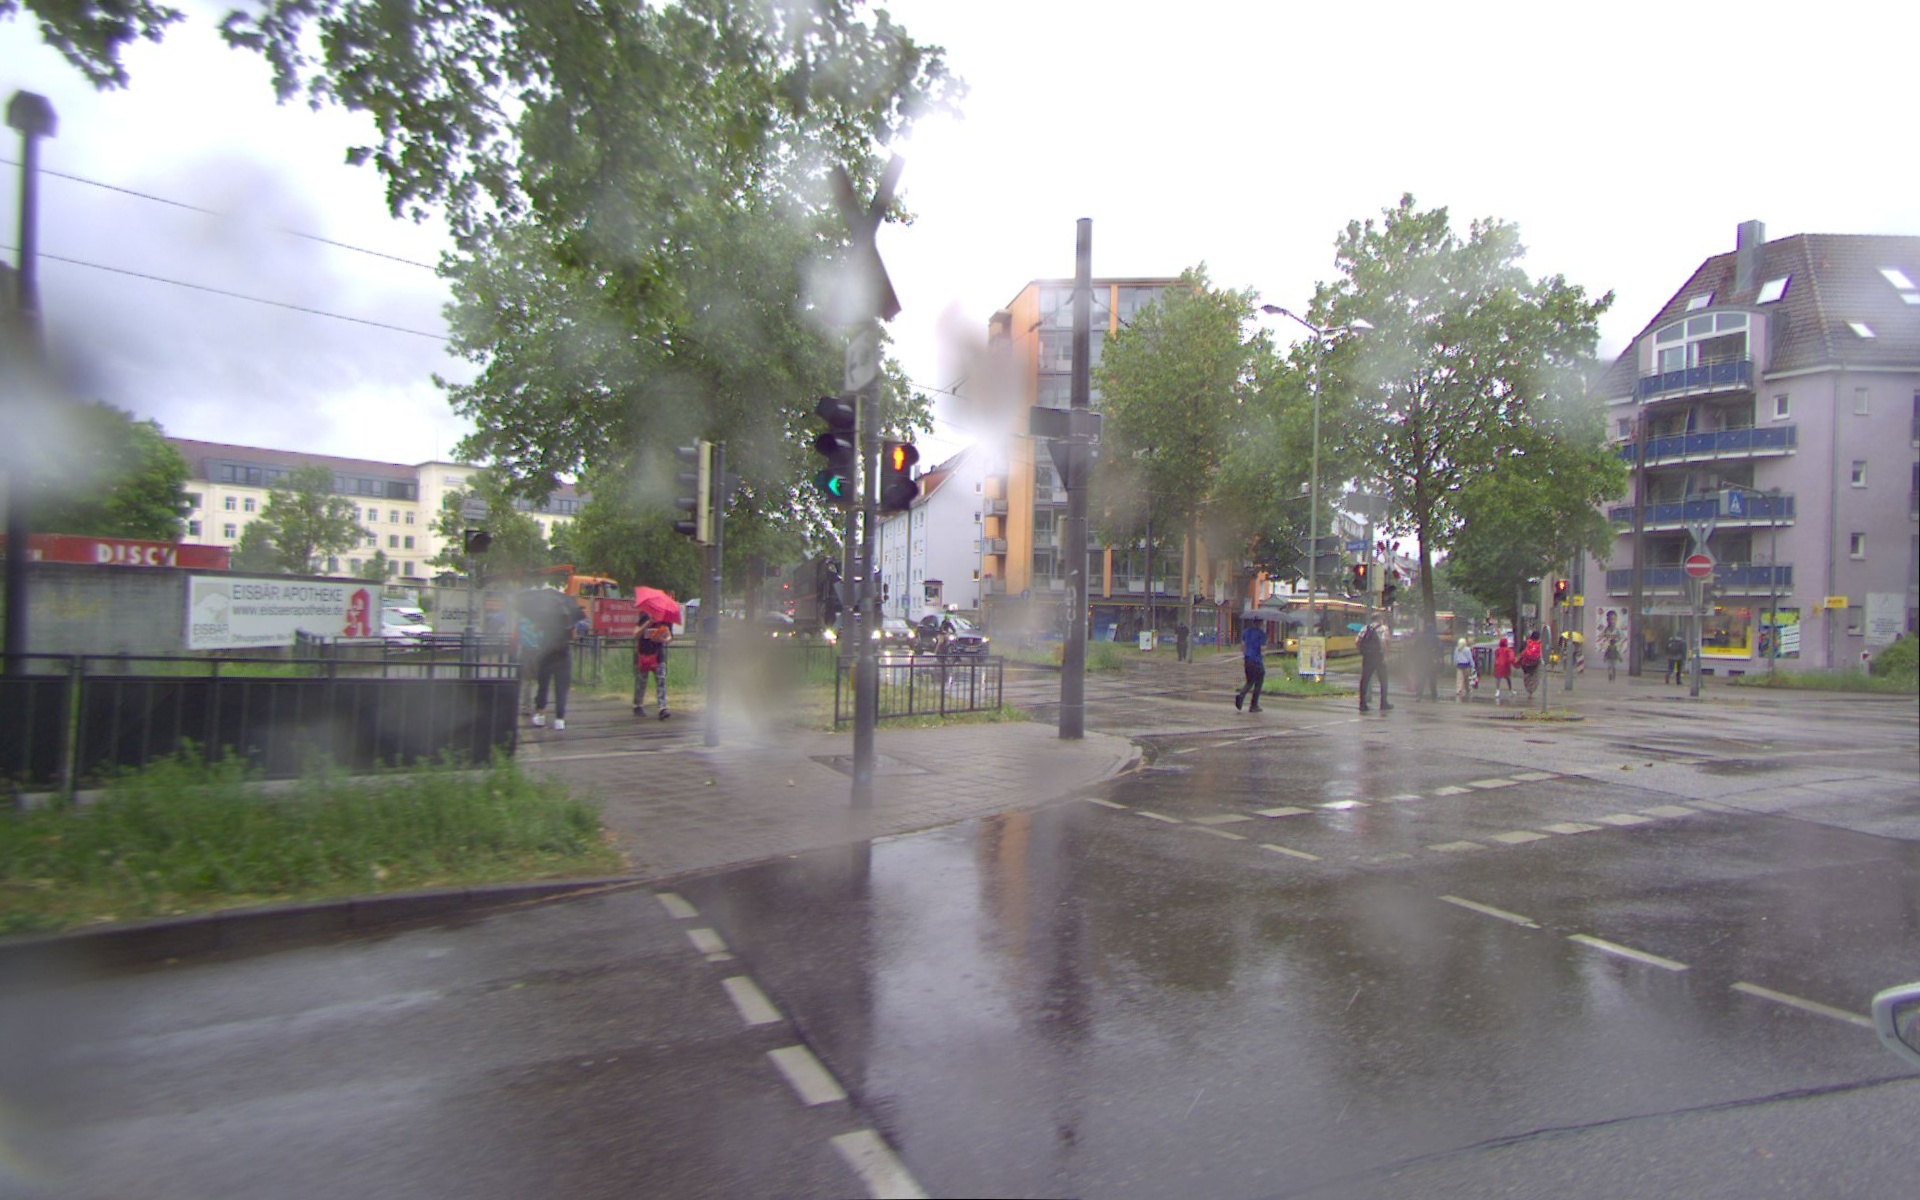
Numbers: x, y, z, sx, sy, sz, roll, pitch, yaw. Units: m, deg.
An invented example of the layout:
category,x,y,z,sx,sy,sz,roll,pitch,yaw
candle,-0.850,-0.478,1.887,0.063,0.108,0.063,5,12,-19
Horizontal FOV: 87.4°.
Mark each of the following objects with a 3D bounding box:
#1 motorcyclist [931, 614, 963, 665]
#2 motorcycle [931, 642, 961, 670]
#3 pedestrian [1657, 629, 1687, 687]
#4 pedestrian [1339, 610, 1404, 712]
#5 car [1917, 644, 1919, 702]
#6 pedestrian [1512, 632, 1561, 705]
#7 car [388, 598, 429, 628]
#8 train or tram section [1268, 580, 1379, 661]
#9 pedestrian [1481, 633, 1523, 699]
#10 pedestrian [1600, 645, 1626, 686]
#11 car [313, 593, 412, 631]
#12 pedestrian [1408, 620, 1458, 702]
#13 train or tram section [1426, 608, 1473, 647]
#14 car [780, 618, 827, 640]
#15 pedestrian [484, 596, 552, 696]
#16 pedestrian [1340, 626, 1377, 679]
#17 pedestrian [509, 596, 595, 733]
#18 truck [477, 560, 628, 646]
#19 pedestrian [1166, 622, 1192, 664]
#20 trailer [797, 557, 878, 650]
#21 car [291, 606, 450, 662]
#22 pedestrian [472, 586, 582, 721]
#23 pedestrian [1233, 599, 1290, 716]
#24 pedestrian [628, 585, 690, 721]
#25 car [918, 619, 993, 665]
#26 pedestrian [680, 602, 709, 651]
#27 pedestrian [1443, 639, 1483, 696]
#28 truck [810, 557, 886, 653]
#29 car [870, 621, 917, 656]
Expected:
category,x,y,z,sx,sy,sz,roll,pitch,yaw
motorcyclist,-0.425,1.287,32.797,0.769,1.635,0.771,2,-1,-24
motorcycle,-0.463,1.811,32.733,0.436,0.853,1.539,2,-1,-23
pedestrian,23.790,1.929,33.561,0.777,1.880,0.679,1,-1,36
pedestrian,7.489,1.090,18.288,0.854,1.778,0.827,1,-1,40
car,27.168,1.974,26.604,3.796,1.532,1.742,2,-1,-32
pedestrian,13.407,1.566,23.370,0.810,1.646,0.724,1,-1,-37
car,-30.298,0.709,55.164,1.551,1.554,3.569,3,-1,-35
train or tram section,20.660,1.280,56.033,2.839,3.817,17.214,1,-1,30
pedestrian,12.913,1.563,23.925,0.653,1.540,0.676,2,-1,-38
pedestrian,23.549,2.356,36.231,0.638,1.414,0.782,1,-1,25
car,-27.595,0.579,46.435,3.531,1.599,1.729,2,-1,5
pedestrian,10.069,1.291,21.395,0.823,1.721,0.689,-2,-1,16
train or tram section,48.804,2.788,99.889,2.819,3.592,15.341,1,-1,31
car,-13.730,2.549,87.967,3.930,1.808,1.996,2,-1,-12
pedestrian,-7.286,0.754,16.584,0.782,1.593,0.659,-1,-1,2
pedestrian,13.769,1.793,34.702,0.940,1.789,0.953,2,-1,6
pedestrian,-5.268,0.821,13.005,0.782,1.705,0.660,-2,-1,8
truck,-16.434,0.173,40.857,5.384,3.205,2.164,2,-1,-16
pedestrian,9.688,1.877,44.381,0.941,1.789,0.953,1,-1,19
trailer,-6.019,0.245,47.863,2.593,3.899,10.114,2,-1,-13
car,-15.485,0.886,26.436,3.447,1.323,1.405,2,-1,9
pedestrian,-6.197,0.751,14.415,0.966,1.850,1.077,-2,-1,15
pedestrian,5.063,0.941,16.933,0.854,1.888,0.892,1,-1,15
pedestrian,-4.354,0.751,14.515,0.769,1.890,0.936,2,-1,-18
car,-0.238,1.524,37.648,1.585,1.551,4.016,1,0,-19
pedestrian,-10.498,1.032,39.721,0.765,1.890,0.940,2,-1,3
pedestrian,12.427,1.659,24.813,0.704,1.367,0.650,2,-1,-44
truck,-4.894,0.243,43.180,2.593,3.841,4.444,2,-1,-14
car,-3.176,1.819,47.648,1.358,1.523,3.261,1,0,-19
